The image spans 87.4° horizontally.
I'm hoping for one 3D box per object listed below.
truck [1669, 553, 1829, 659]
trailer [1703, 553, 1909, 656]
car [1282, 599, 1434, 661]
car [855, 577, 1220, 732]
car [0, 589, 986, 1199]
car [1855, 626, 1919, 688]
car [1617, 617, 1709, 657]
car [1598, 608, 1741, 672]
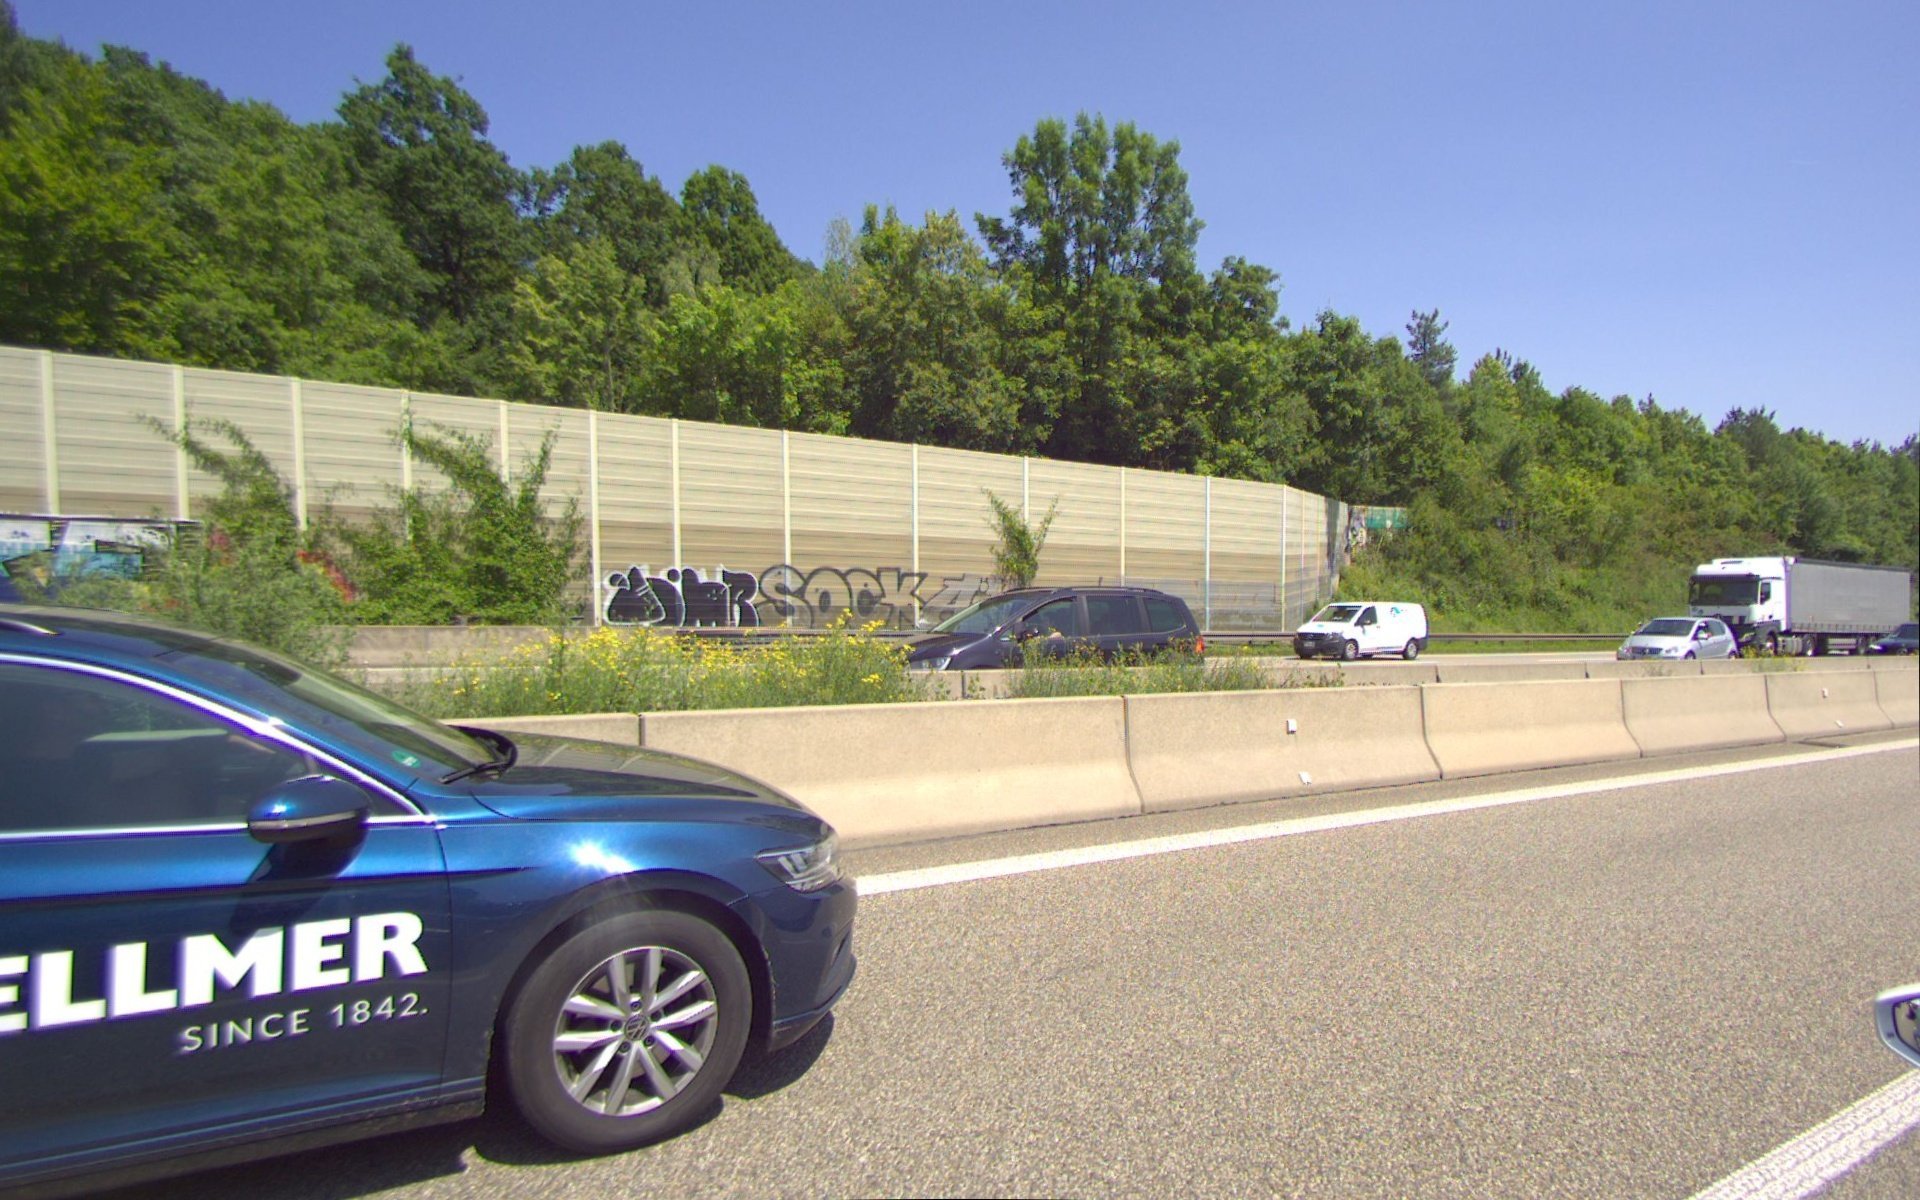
[{"bbox_3d":[31.994,0.320,40.637,7.235,3.960,2.797,2,0,-32],"label":"truck"},{"bbox_3d":[37.131,0.362,43.788,13.674,3.960,2.797,2,0,-32],"label":"trailer"},{"bbox_3d":[13.164,1.011,33.109,5.244,1.892,1.911,2,0,-32],"label":"car"},{"bbox_3d":[1.089,0.651,13.066,4.604,1.721,1.676,1,0,-30],"label":"car"},{"bbox_3d":[-2.376,0.705,2.736,4.672,1.447,1.725,1,0,-29],"label":"car"},{"bbox_3d":[28.132,1.648,29.257,4.549,1.663,1.801,2,0,-31],"label":"car"},{"bbox_3d":[31.099,1.624,44.417,4.051,1.663,1.801,2,0,-31],"label":"car"},{"bbox_3d":[20.248,1.143,28.646,4.057,1.692,1.819,2,0,-30],"label":"car"}]
